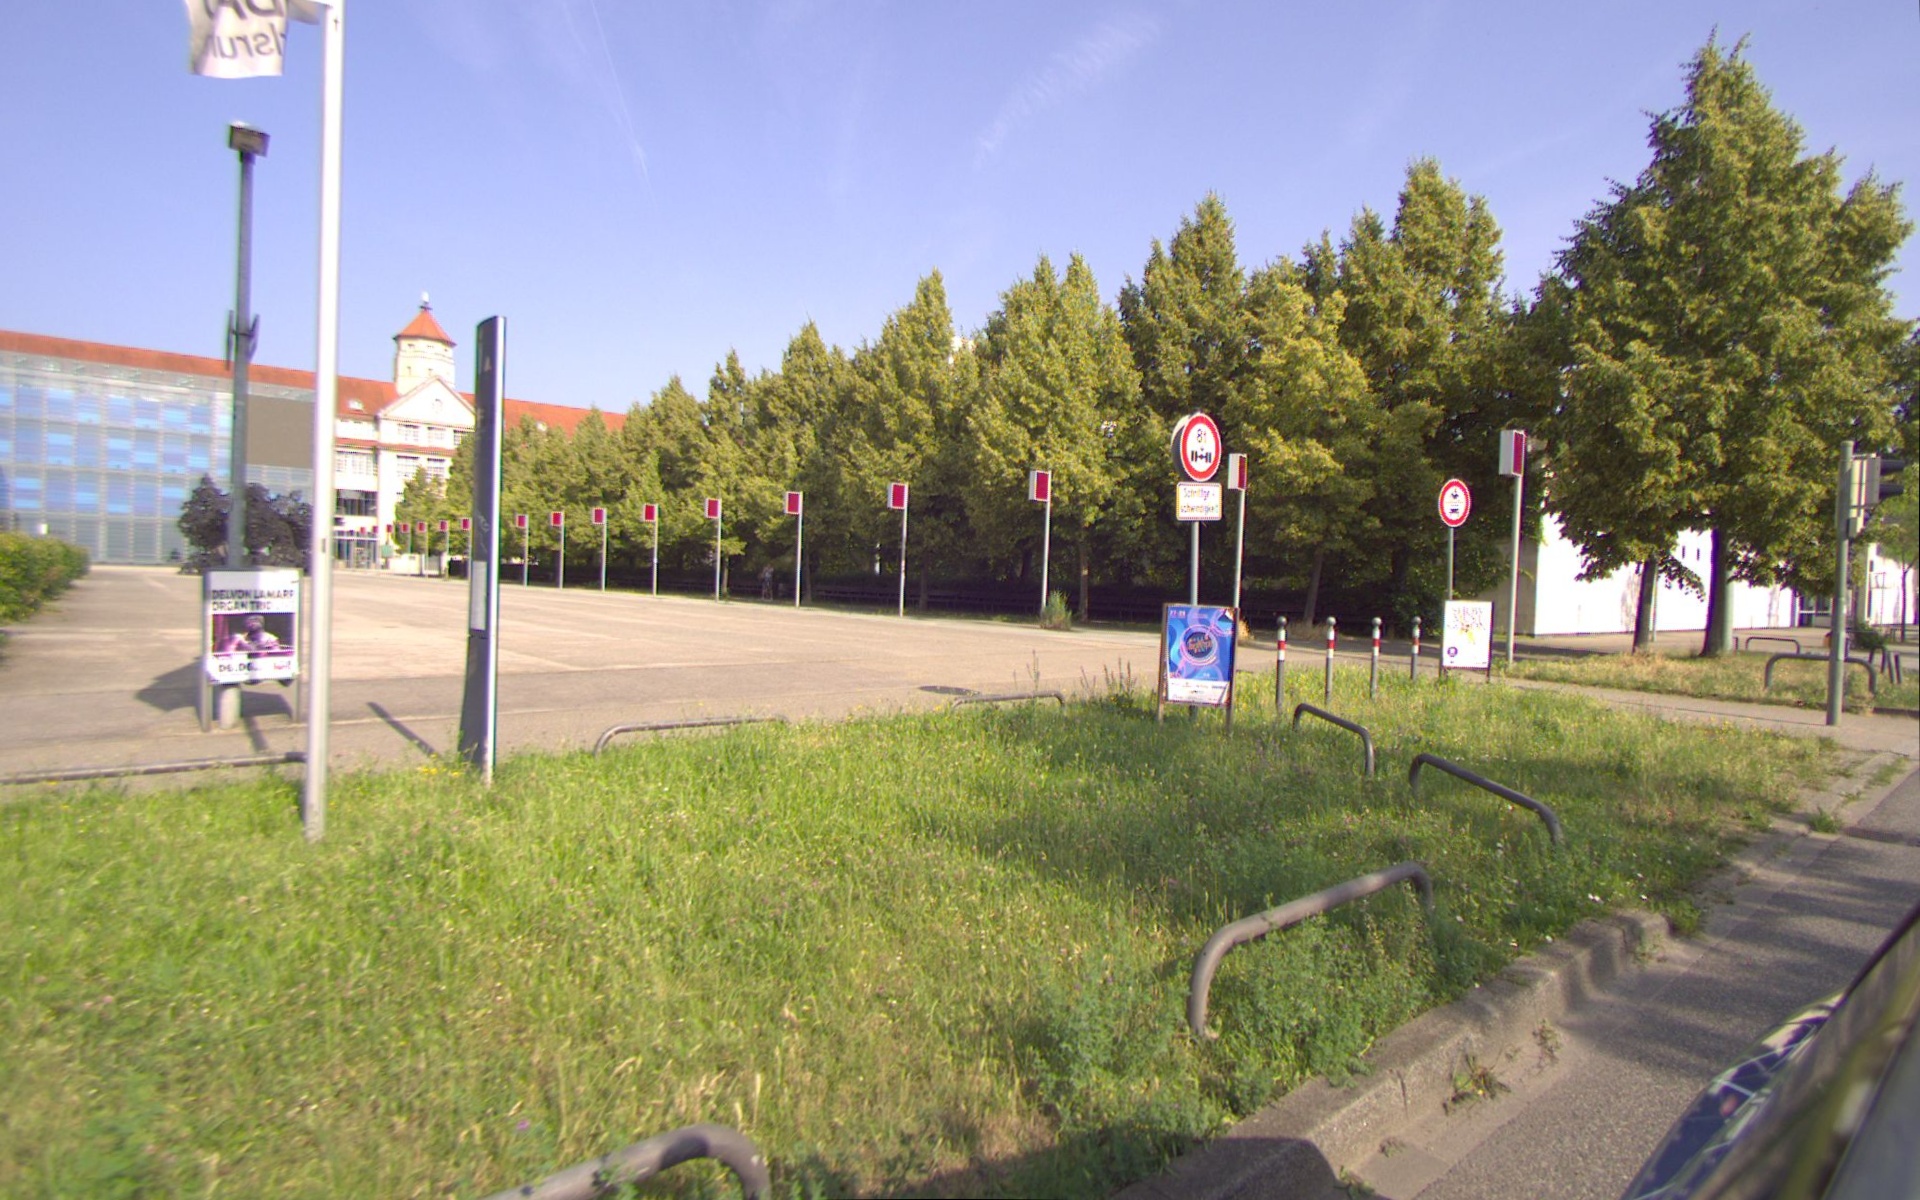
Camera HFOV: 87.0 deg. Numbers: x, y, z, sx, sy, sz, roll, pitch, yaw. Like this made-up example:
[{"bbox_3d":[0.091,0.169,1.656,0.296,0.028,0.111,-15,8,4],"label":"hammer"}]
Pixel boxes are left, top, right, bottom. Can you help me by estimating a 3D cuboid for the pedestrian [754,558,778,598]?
[{"bbox_3d":[-9.228,-1.053,48.180,0.795,1.845,0.734,2,1,19],"label":"pedestrian"}]
